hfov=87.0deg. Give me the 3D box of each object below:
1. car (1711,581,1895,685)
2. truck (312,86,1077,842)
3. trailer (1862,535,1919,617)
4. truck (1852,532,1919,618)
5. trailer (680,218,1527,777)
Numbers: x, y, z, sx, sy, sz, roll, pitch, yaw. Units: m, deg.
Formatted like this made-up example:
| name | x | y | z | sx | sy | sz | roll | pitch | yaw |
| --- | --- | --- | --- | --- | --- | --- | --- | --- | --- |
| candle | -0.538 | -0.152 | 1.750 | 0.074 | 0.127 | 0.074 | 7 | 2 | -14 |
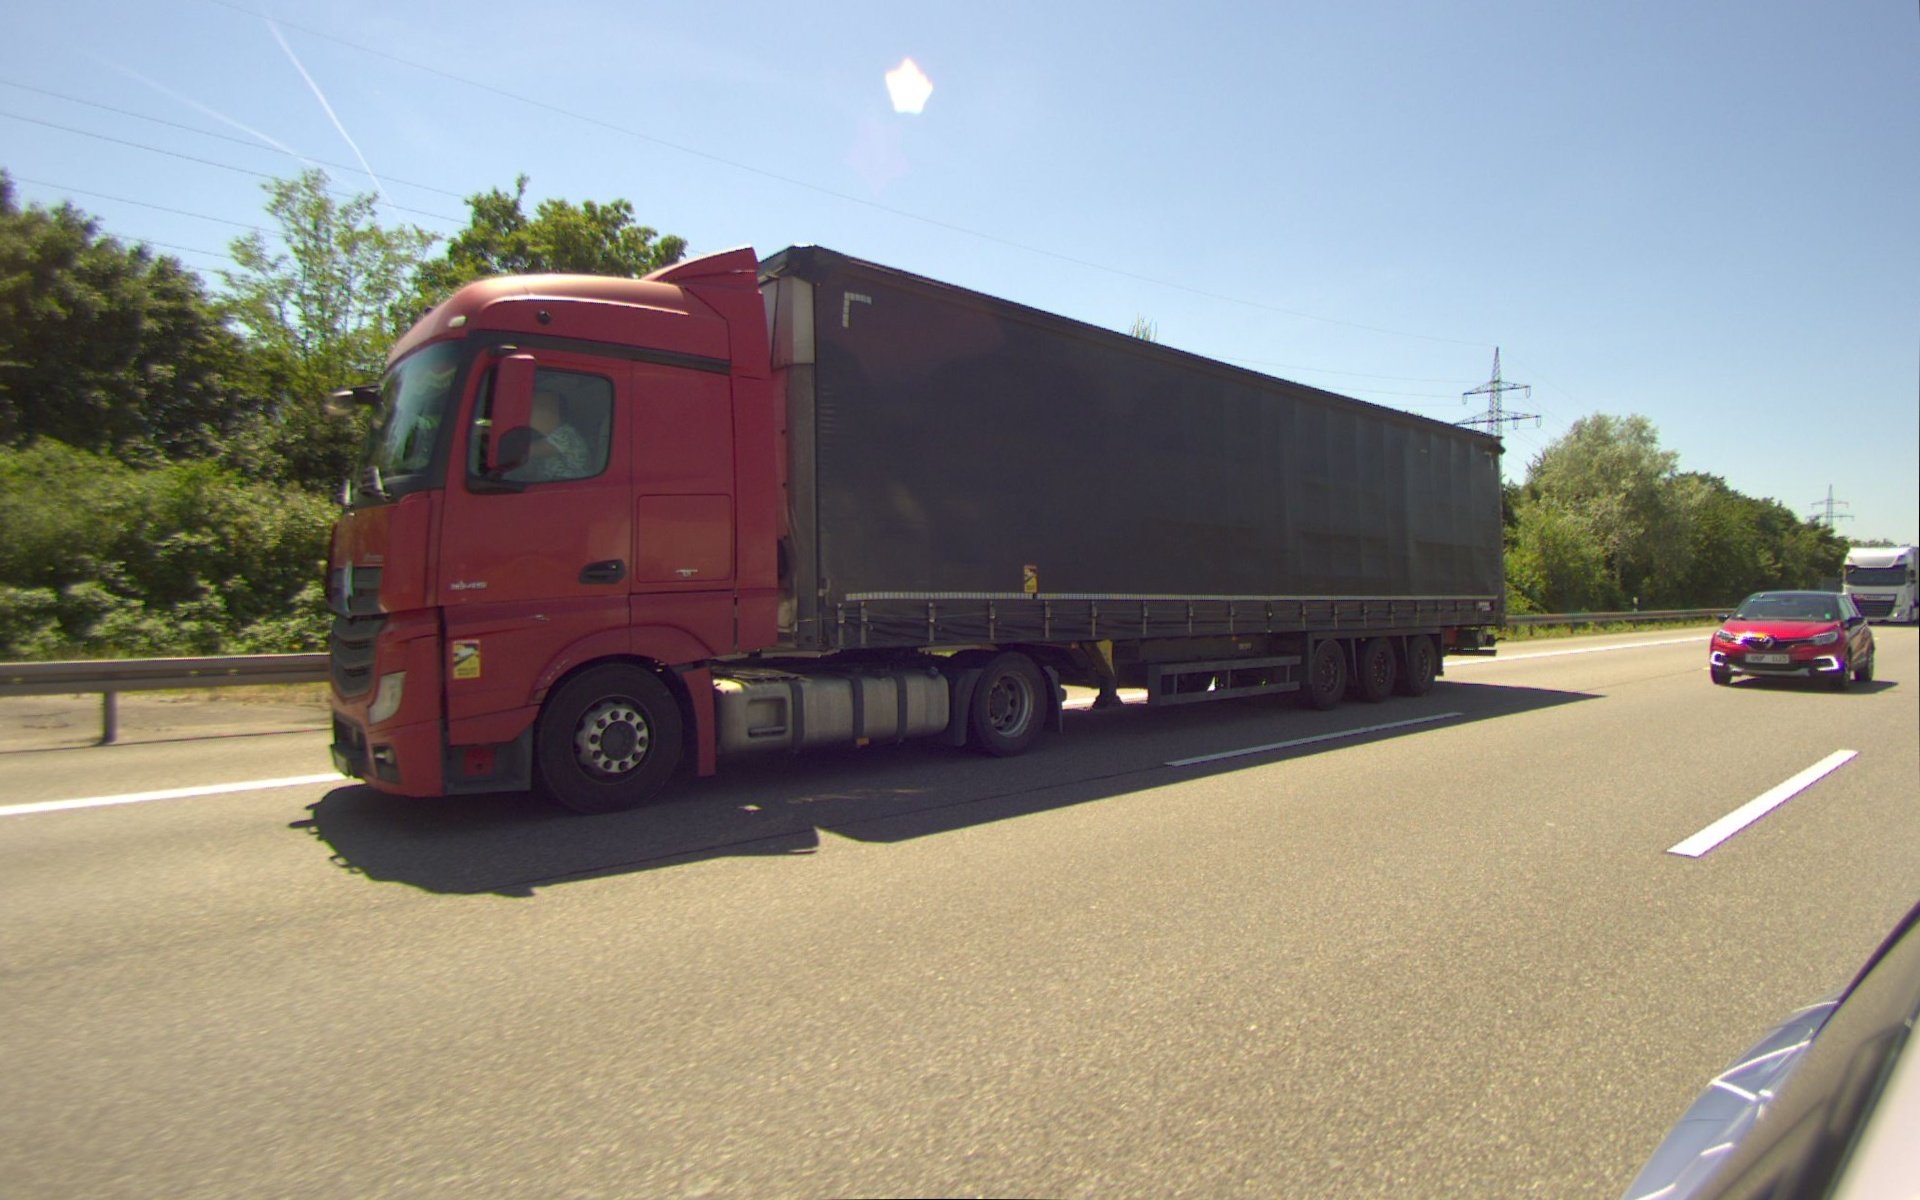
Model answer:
| name | x | y | z | sx | sy | sz | roll | pitch | yaw |
| --- | --- | --- | --- | --- | --- | --- | --- | --- | --- |
| car | 14.394 | 0.473 | 17.212 | 3.930 | 1.565 | 1.806 | 0 | 1 | -41 |
| truck | -1.963 | -0.796 | 8.561 | 5.622 | 4.216 | 2.800 | 0 | 1 | -41 |
| trailer | 53.061 | -1.279 | 56.300 | 12.894 | 4.158 | 2.740 | 0 | 1 | -41 |
| truck | 48.073 | -1.252 | 51.922 | 6.018 | 4.171 | 2.741 | 0 | 0 | -41 |
| trailer | 3.237 | -0.838 | 13.080 | 13.337 | 4.216 | 2.794 | 0 | 1 | -41 |
